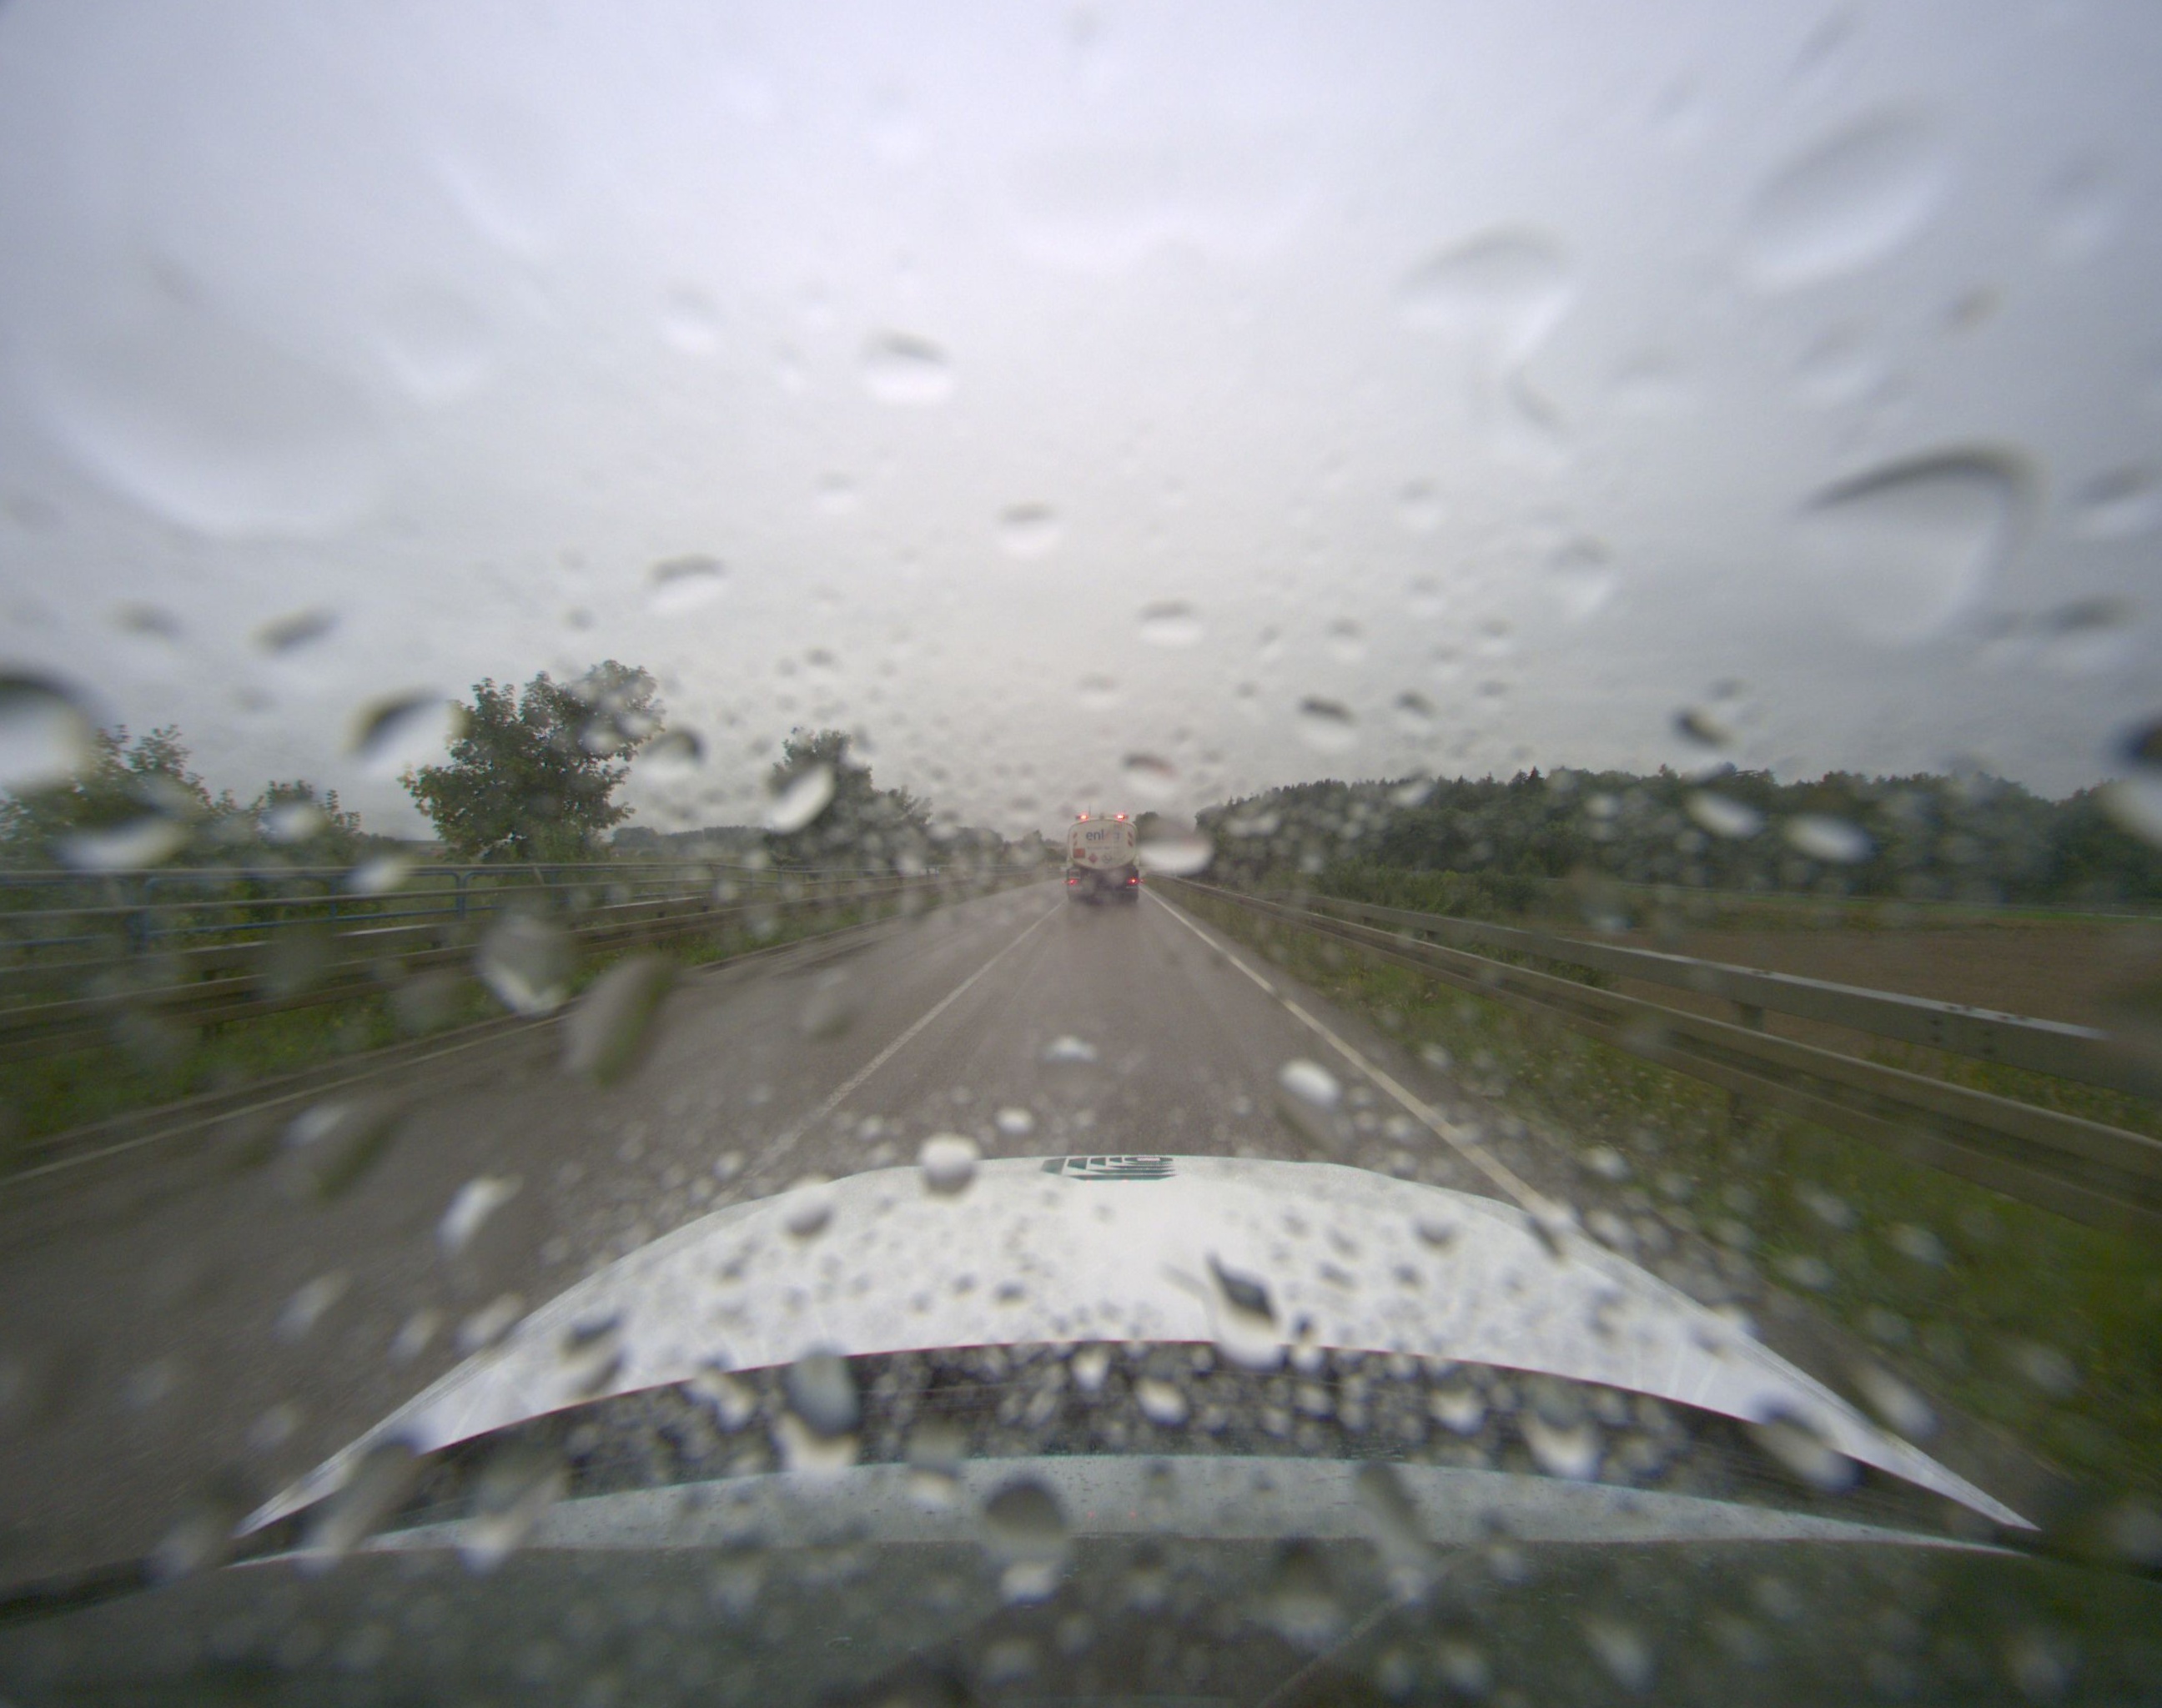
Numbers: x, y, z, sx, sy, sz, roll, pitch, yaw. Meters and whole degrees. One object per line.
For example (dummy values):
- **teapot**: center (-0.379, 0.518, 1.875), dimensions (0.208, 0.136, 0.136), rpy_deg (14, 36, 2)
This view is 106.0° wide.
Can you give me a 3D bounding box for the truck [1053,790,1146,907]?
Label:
- **truck**: center (0.823, -0.166, 31.459), dimensions (3.027, 3.852, 8.828), rpy_deg (-1, 0, 3)
